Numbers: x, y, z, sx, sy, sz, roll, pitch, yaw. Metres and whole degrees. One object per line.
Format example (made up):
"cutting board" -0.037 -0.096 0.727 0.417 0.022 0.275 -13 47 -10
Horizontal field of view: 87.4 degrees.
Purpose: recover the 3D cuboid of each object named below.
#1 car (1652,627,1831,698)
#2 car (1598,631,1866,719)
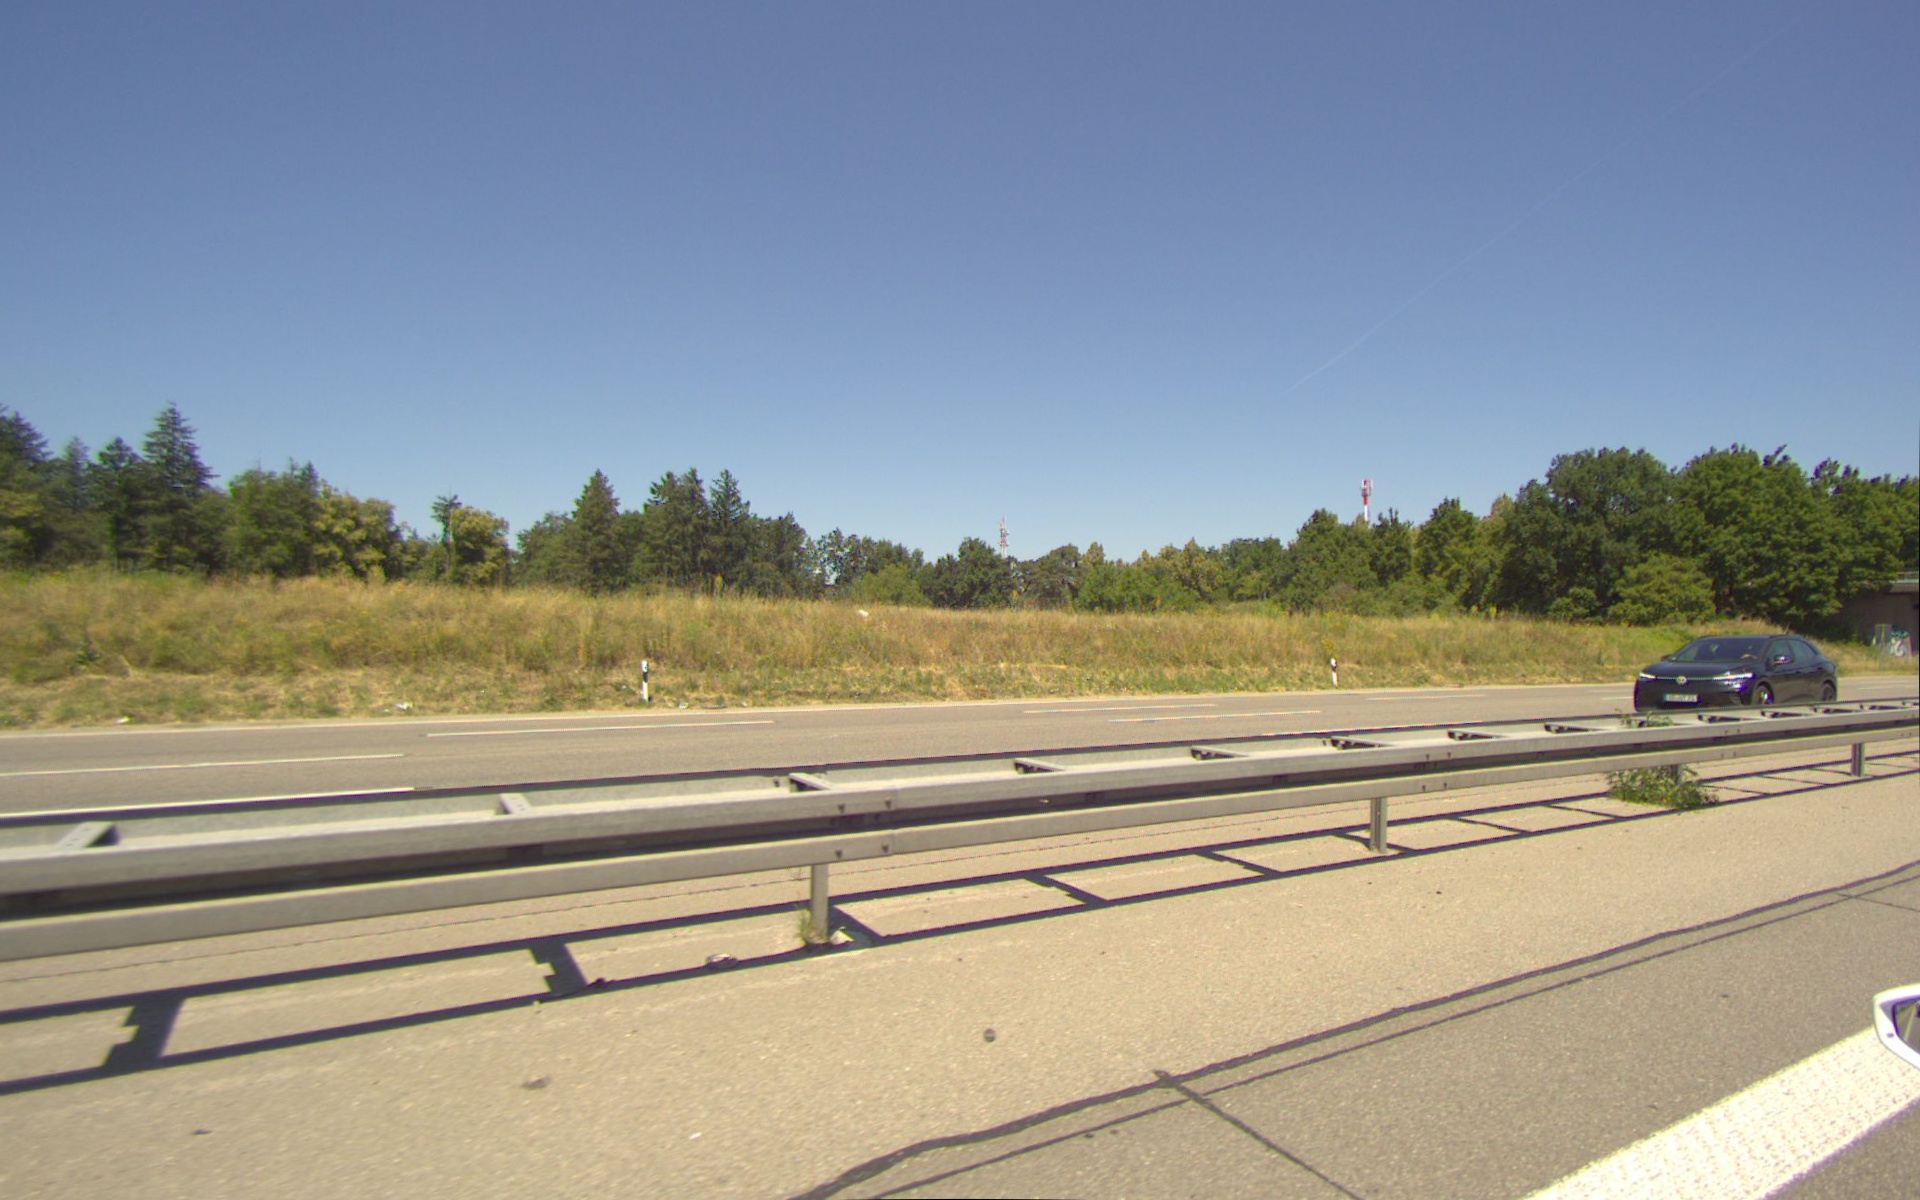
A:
"car" 22.058 1.733 28.317 5.238 1.835 2.217 2 -4 -31
"car" 14.610 1.356 18.946 5.238 1.442 2.217 2 -4 -31
